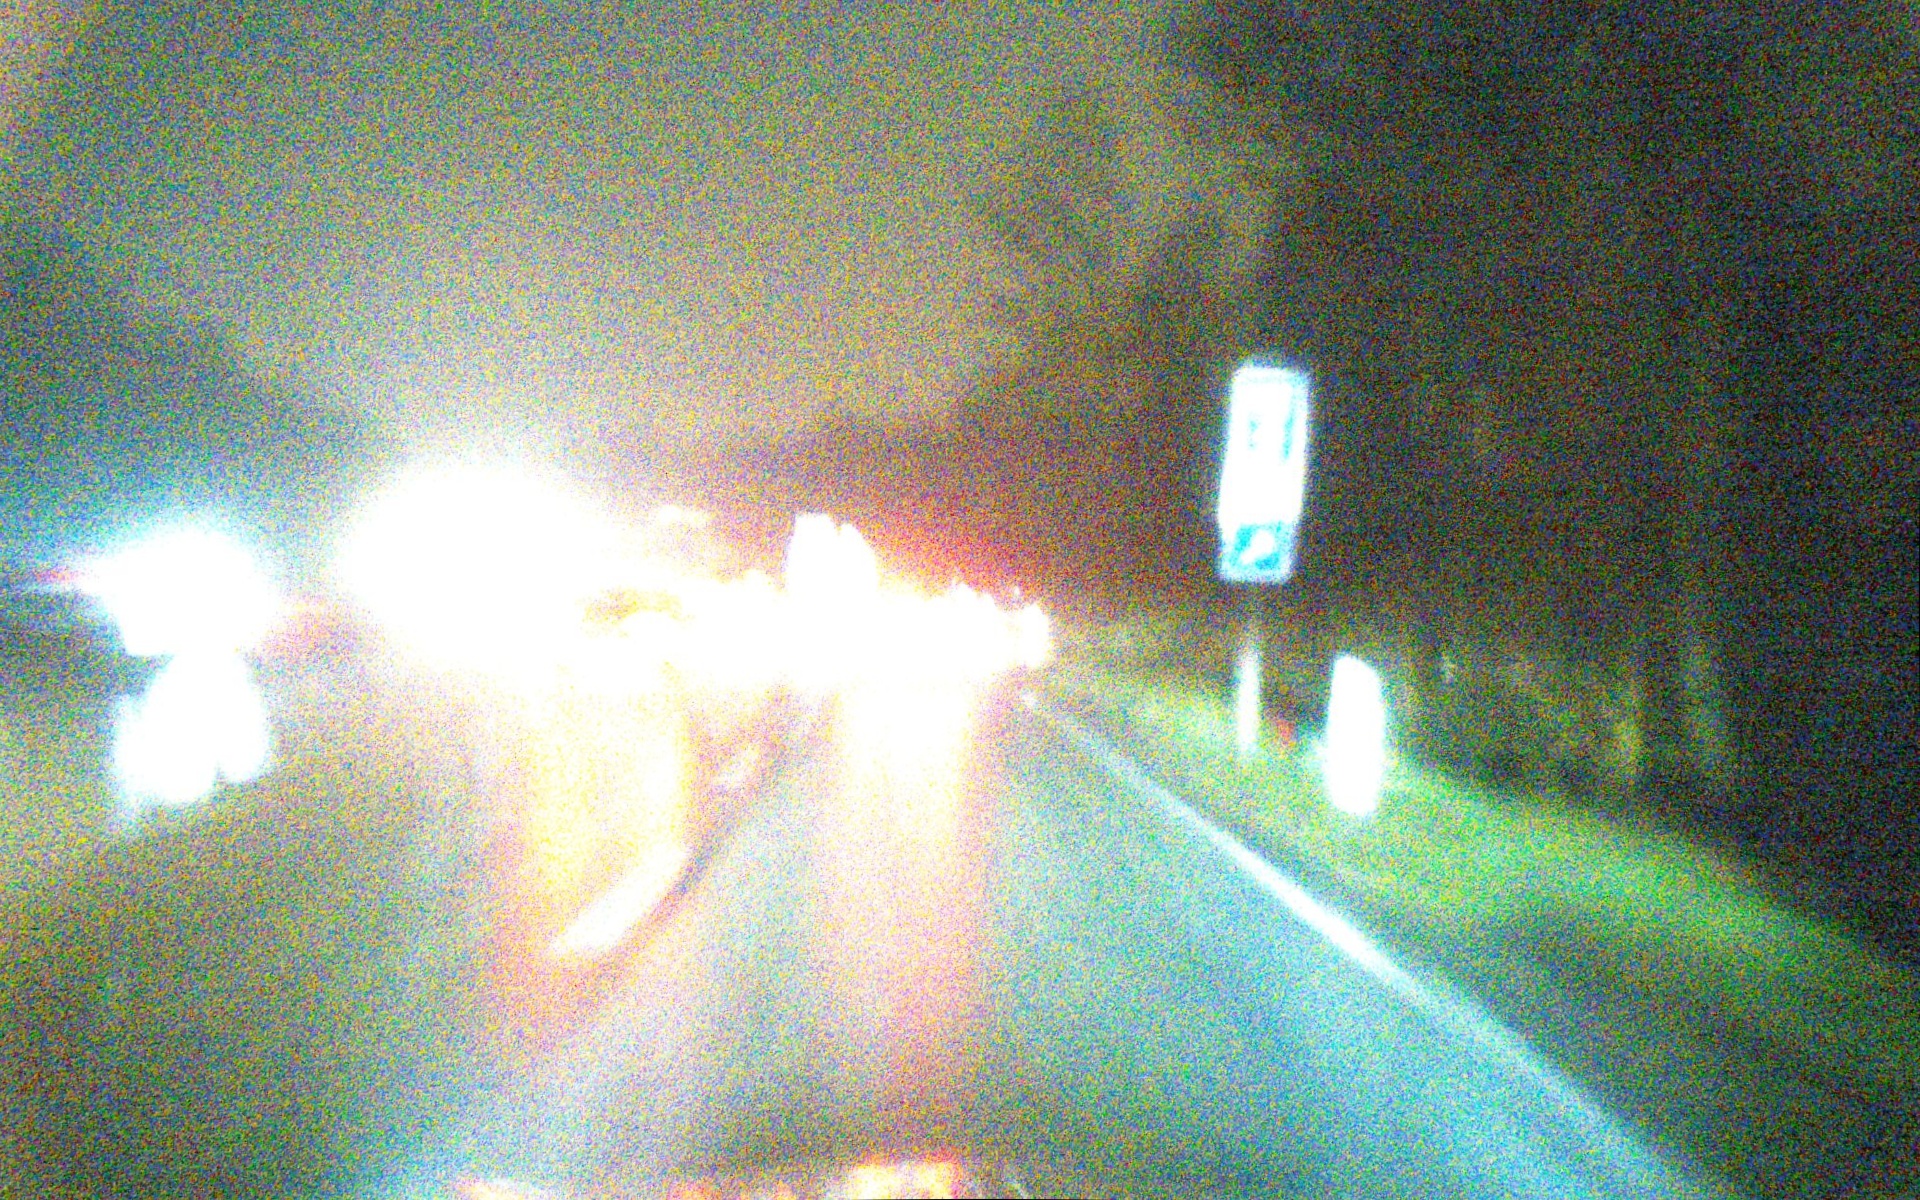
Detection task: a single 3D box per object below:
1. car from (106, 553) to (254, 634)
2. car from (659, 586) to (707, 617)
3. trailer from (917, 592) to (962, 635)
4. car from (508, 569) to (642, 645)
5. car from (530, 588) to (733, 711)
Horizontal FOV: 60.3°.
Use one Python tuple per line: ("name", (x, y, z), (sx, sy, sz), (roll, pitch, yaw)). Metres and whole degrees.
("car", (-21.336, -0.144, 45.499), (1.954, 2.049, 4.807), (2, -1, -3))
("car", (-14.733, 0.078, 88.156), (1.854, 1.577, 3.999), (2, -1, -1))
("trailer", (-1.139, 0.708, 86.496), (2.036, 2.049, 10.642), (2, 0, -2))
("car", (-8.494, 0.138, 36.917), (1.731, 1.543, 4.915), (2, 0, 1))
("car", (-4.236, 0.616, 21.960), (1.922, 1.404, 4.048), (2, -1, -2))
